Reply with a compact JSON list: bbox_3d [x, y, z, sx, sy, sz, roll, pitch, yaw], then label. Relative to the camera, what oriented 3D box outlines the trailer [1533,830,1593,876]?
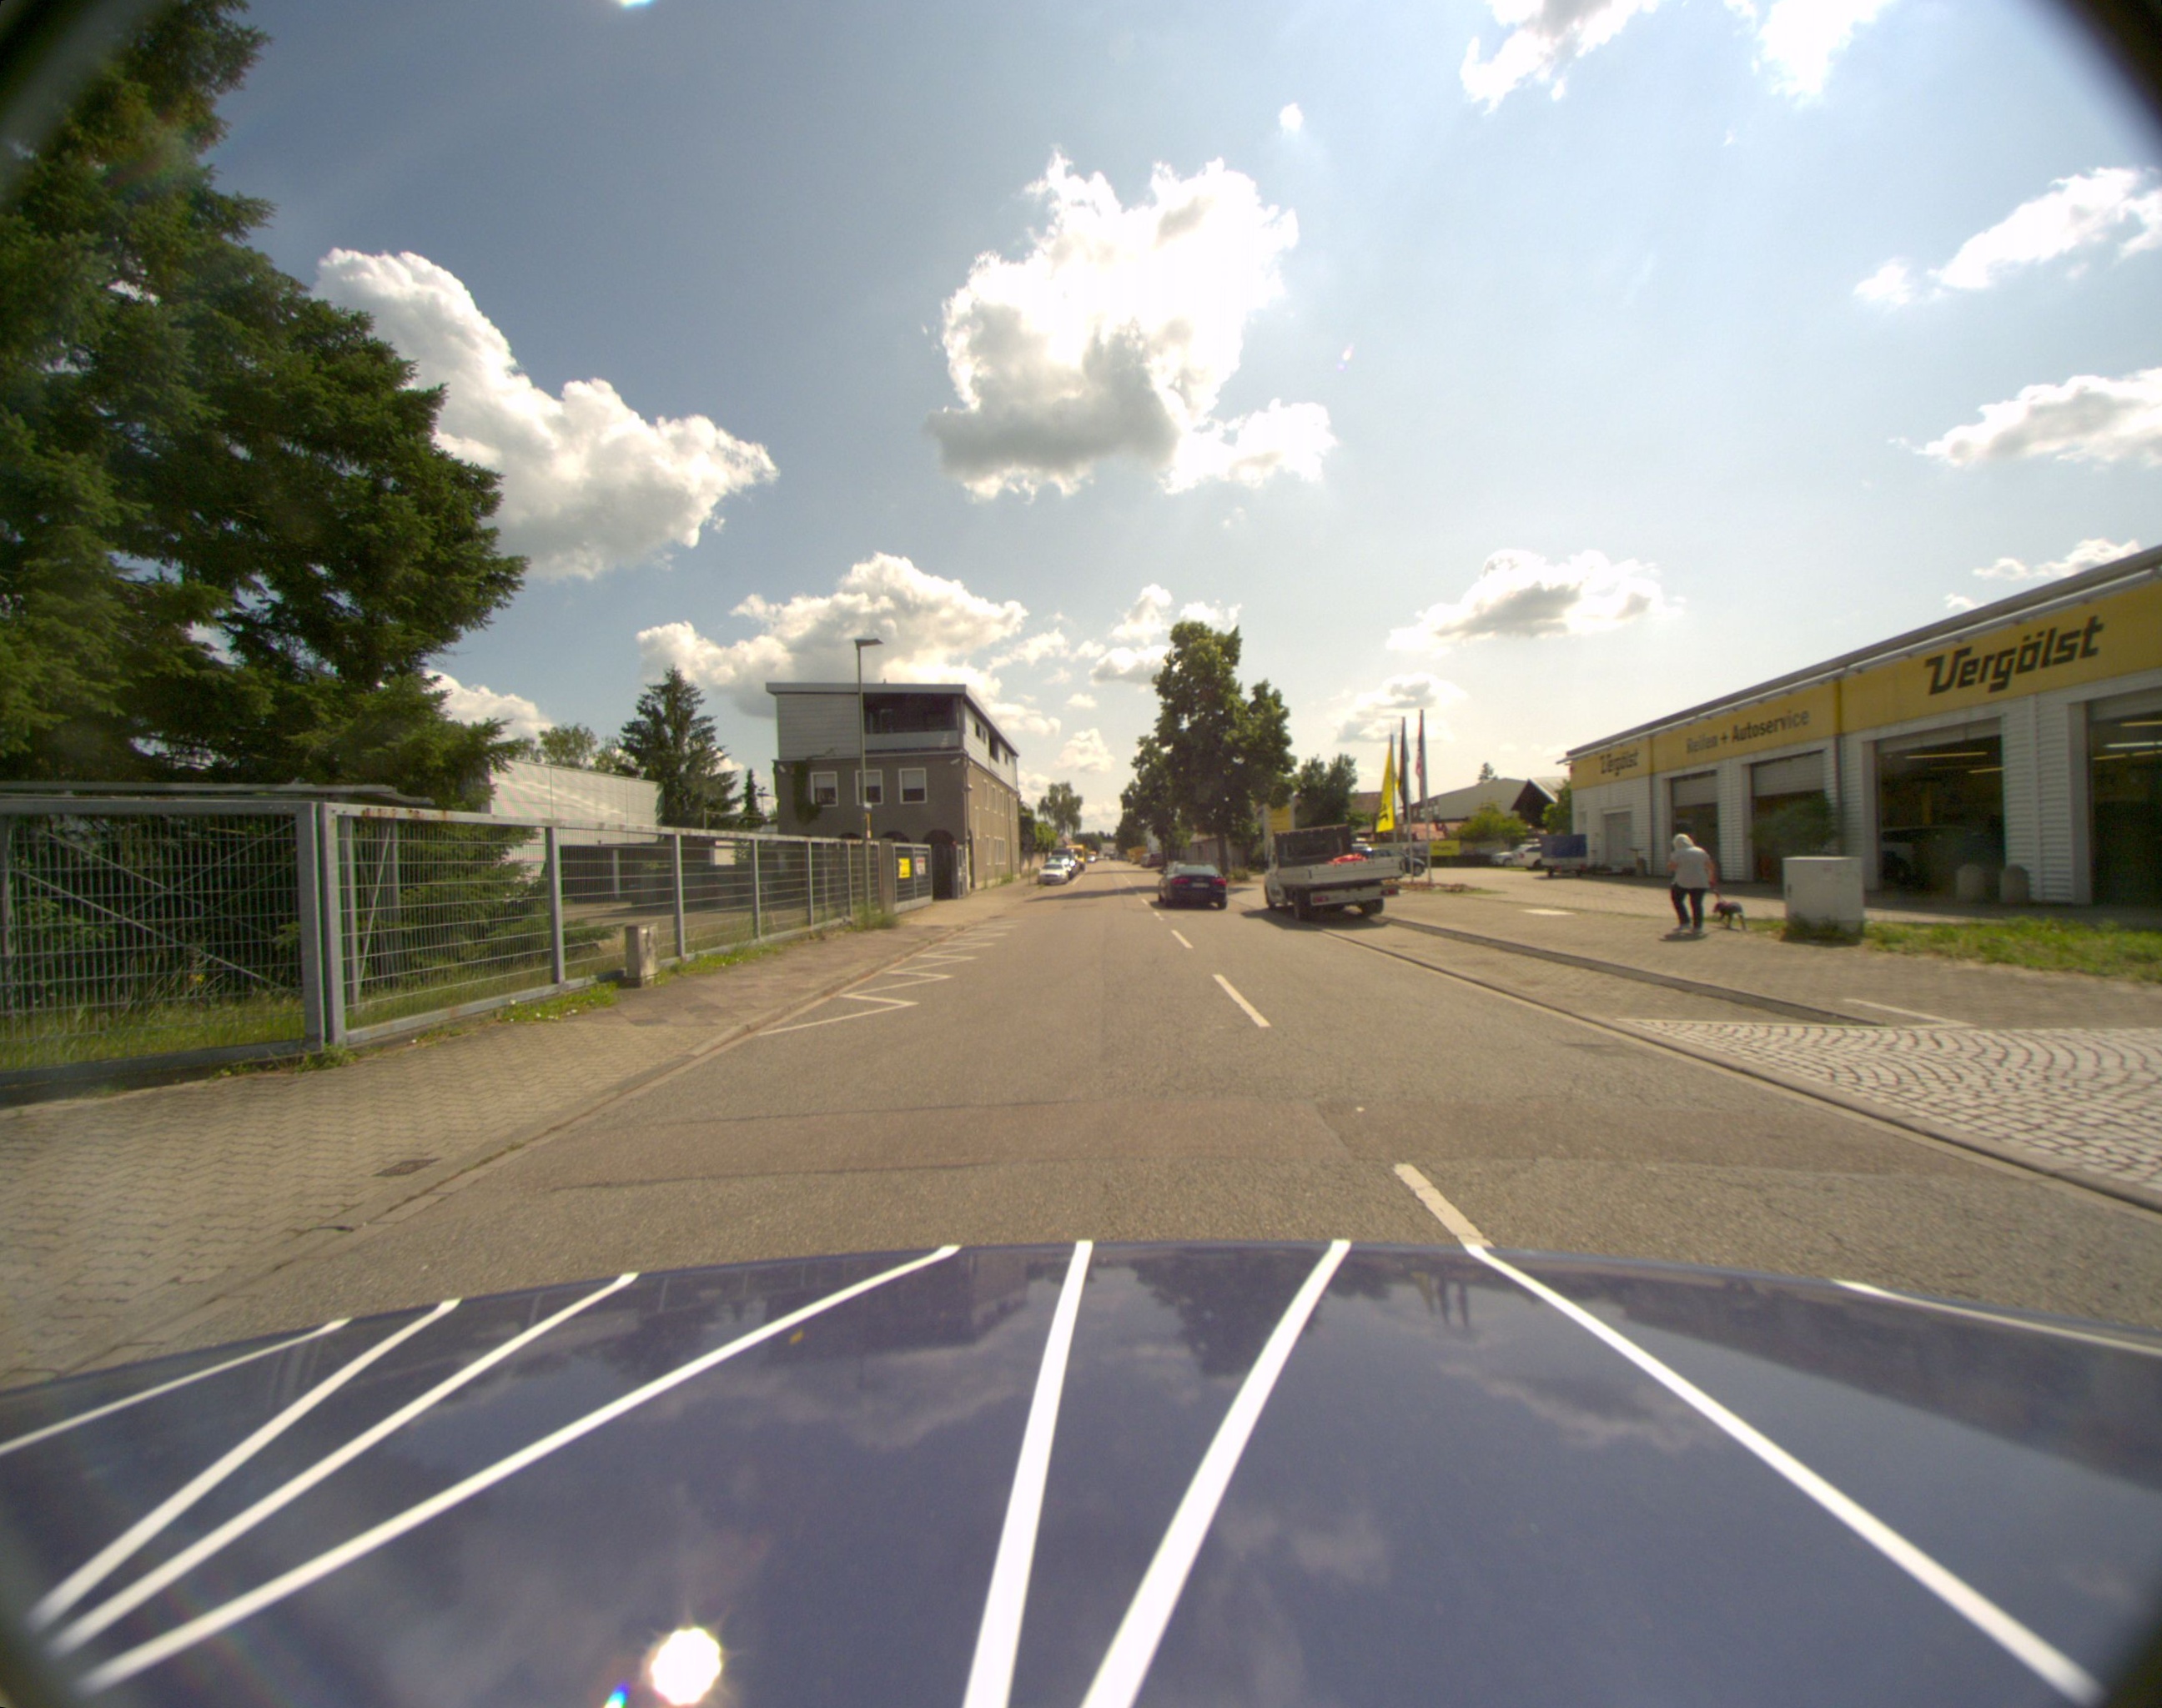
[{"bbox_3d":[19.108,-0.063,30.215,1.268,1.682,2.972,-3,1,18],"label":"trailer"}]

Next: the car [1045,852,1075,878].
[{"bbox_3d":[-1.439,0.764,53.587,1.998,1.677,4.000,-2,0,0],"label":"car"}]

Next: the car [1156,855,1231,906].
[{"bbox_3d":[3.471,0.767,24.218,1.789,1.430,4.309,1,0,1],"label":"car"}]

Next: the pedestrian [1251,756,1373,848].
[{"bbox_3d":[5.788,-1.236,19.575,1.998,2.002,4.000,-3,1,3],"label":"pedestrian"}]

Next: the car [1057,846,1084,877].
[{"bbox_3d":[-0.838,0.566,60.584,1.998,2.289,4.413,-2,0,0],"label":"car"}]

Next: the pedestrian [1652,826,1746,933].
[{"bbox_3d":[9.374,0.371,11.559,0.661,1.536,0.918,-2,0,3],"label":"pedestrian"}]

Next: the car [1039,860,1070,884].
[{"bbox_3d":[-1.575,1.065,46.685,1.657,1.324,4.000,-2,0,1],"label":"car"}]

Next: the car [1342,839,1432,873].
[{"bbox_3d":[15.095,0.069,37.507,3.847,1.406,1.857,-4,1,-21],"label":"car"}]

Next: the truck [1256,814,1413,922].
[{"bbox_3d":[6.417,0.290,20.404,2.133,2.225,7.351,-5,0,4],"label":"truck"}]

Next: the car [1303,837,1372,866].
[{"bbox_3d":[16.866,-0.158,50.162,4.092,1.703,1.680,-2,0,10],"label":"car"}]

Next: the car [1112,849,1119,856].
[{"bbox_3d":[11.153,-0.559,245.802,1.998,2.002,4.001,-2,0,3],"label":"car"}]

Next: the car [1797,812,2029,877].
[{"bbox_3d":[20.929,-0.226,19.295,3.577,1.428,1.792,-2,0,14],"label":"car"}]

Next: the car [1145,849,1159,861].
[{"bbox_3d":[9.059,0.096,97.012,1.654,1.432,3.314,-2,0,8],"label":"car"}]

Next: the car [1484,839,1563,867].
[{"bbox_3d":[28.072,-0.039,48.338,3.993,1.600,1.852,-2,0,14],"label":"car"}]

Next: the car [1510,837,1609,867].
[{"bbox_3d":[26.230,-0.098,41.764,4.275,1.474,1.672,-2,1,16],"label":"car"}]

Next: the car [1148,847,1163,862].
[{"bbox_3d":[8.897,0.067,90.400,1.654,1.686,3.314,-2,0,8],"label":"car"}]

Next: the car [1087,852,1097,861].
[{"bbox_3d":[2.463,0.579,172.607,1.998,2.002,4.001,-2,0,3],"label":"car"}]

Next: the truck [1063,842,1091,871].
[{"bbox_3d":[-0.337,0.238,79.079,2.402,2.787,6.376,-2,0,3],"label":"truck"}]

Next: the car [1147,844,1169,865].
[{"bbox_3d":[8.714,0.034,86.092,1.997,2.290,4.003,-2,0,11],"label":"car"}]
